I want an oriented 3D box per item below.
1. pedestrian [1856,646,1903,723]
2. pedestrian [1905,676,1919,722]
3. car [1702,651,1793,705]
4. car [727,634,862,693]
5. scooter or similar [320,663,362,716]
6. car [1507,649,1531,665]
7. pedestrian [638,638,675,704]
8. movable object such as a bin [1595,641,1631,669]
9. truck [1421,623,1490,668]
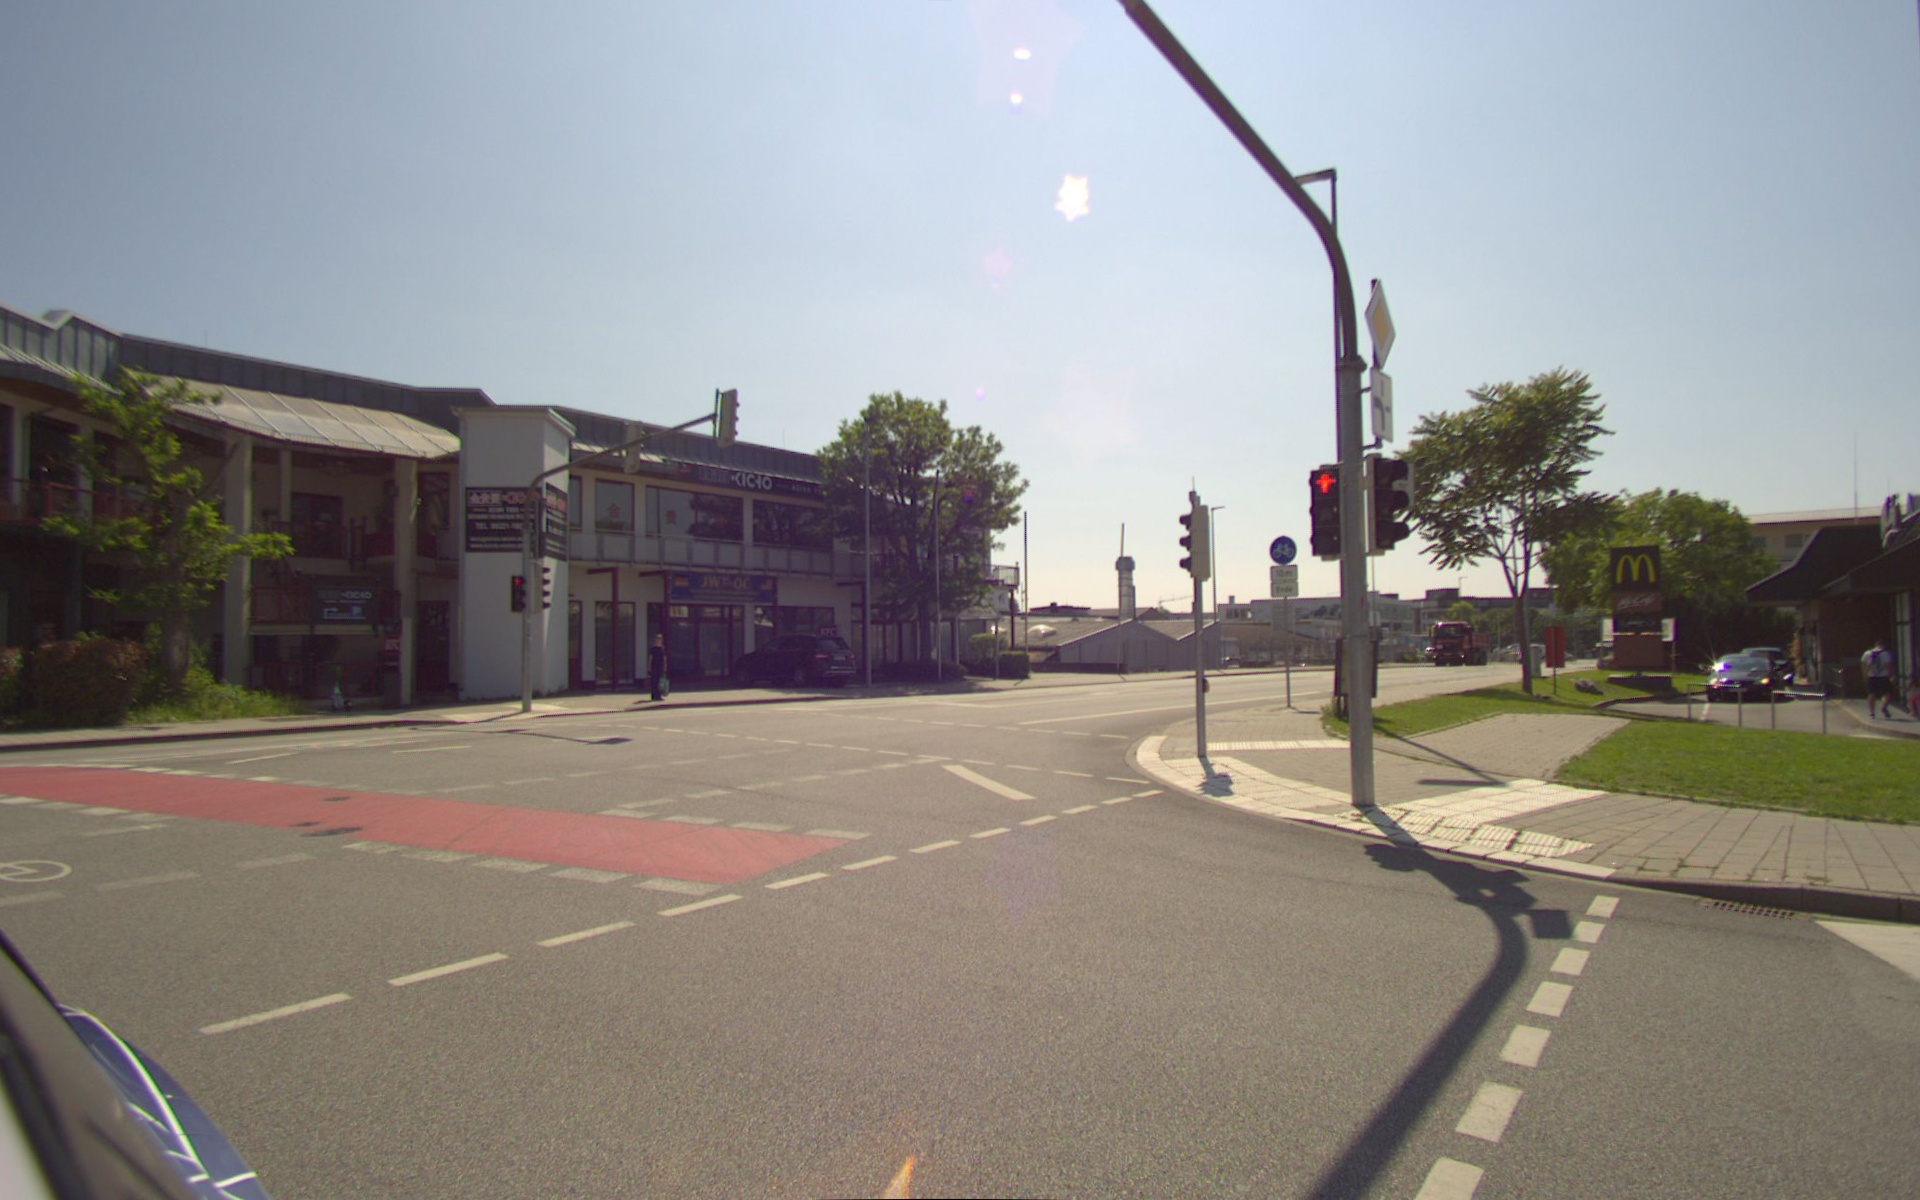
[{"bbox_3d":[21.471,1.953,23.625,0.878,1.771,0.639,2,-4,-41],"label":"pedestrian"},{"bbox_3d":[21.933,2.262,23.147,0.502,1.005,0.382,2,-4,-42],"label":"pedestrian"},{"bbox_3d":[24.903,2.410,31.964,1.866,1.564,4.128,-3,-4,43],"label":"car"},{"bbox_3d":[-5.593,2.105,33.934,4.652,1.870,1.785,-3,-4,38],"label":"car"},{"bbox_3d":[-13.992,2.007,22.874,0.493,1.132,1.505,2,-4,-43],"label":"scooter or similar"},{"bbox_3d":[58.558,5.967,106.062,1.831,1.675,3.953,-2,-3,34],"label":"car"},{"bbox_3d":[-7.817,1.810,26.056,0.721,1.658,0.844,1,-3,-29],"label":"pedestrian"},{"bbox_3d":[34.941,2.938,54.140,1.467,1.422,1.437,-3,-4,38],"label":"movable object such as a bin"},{"bbox_3d":[39.716,3.614,80.935,3.309,3.412,9.053,-3,-3,37],"label":"truck"}]
